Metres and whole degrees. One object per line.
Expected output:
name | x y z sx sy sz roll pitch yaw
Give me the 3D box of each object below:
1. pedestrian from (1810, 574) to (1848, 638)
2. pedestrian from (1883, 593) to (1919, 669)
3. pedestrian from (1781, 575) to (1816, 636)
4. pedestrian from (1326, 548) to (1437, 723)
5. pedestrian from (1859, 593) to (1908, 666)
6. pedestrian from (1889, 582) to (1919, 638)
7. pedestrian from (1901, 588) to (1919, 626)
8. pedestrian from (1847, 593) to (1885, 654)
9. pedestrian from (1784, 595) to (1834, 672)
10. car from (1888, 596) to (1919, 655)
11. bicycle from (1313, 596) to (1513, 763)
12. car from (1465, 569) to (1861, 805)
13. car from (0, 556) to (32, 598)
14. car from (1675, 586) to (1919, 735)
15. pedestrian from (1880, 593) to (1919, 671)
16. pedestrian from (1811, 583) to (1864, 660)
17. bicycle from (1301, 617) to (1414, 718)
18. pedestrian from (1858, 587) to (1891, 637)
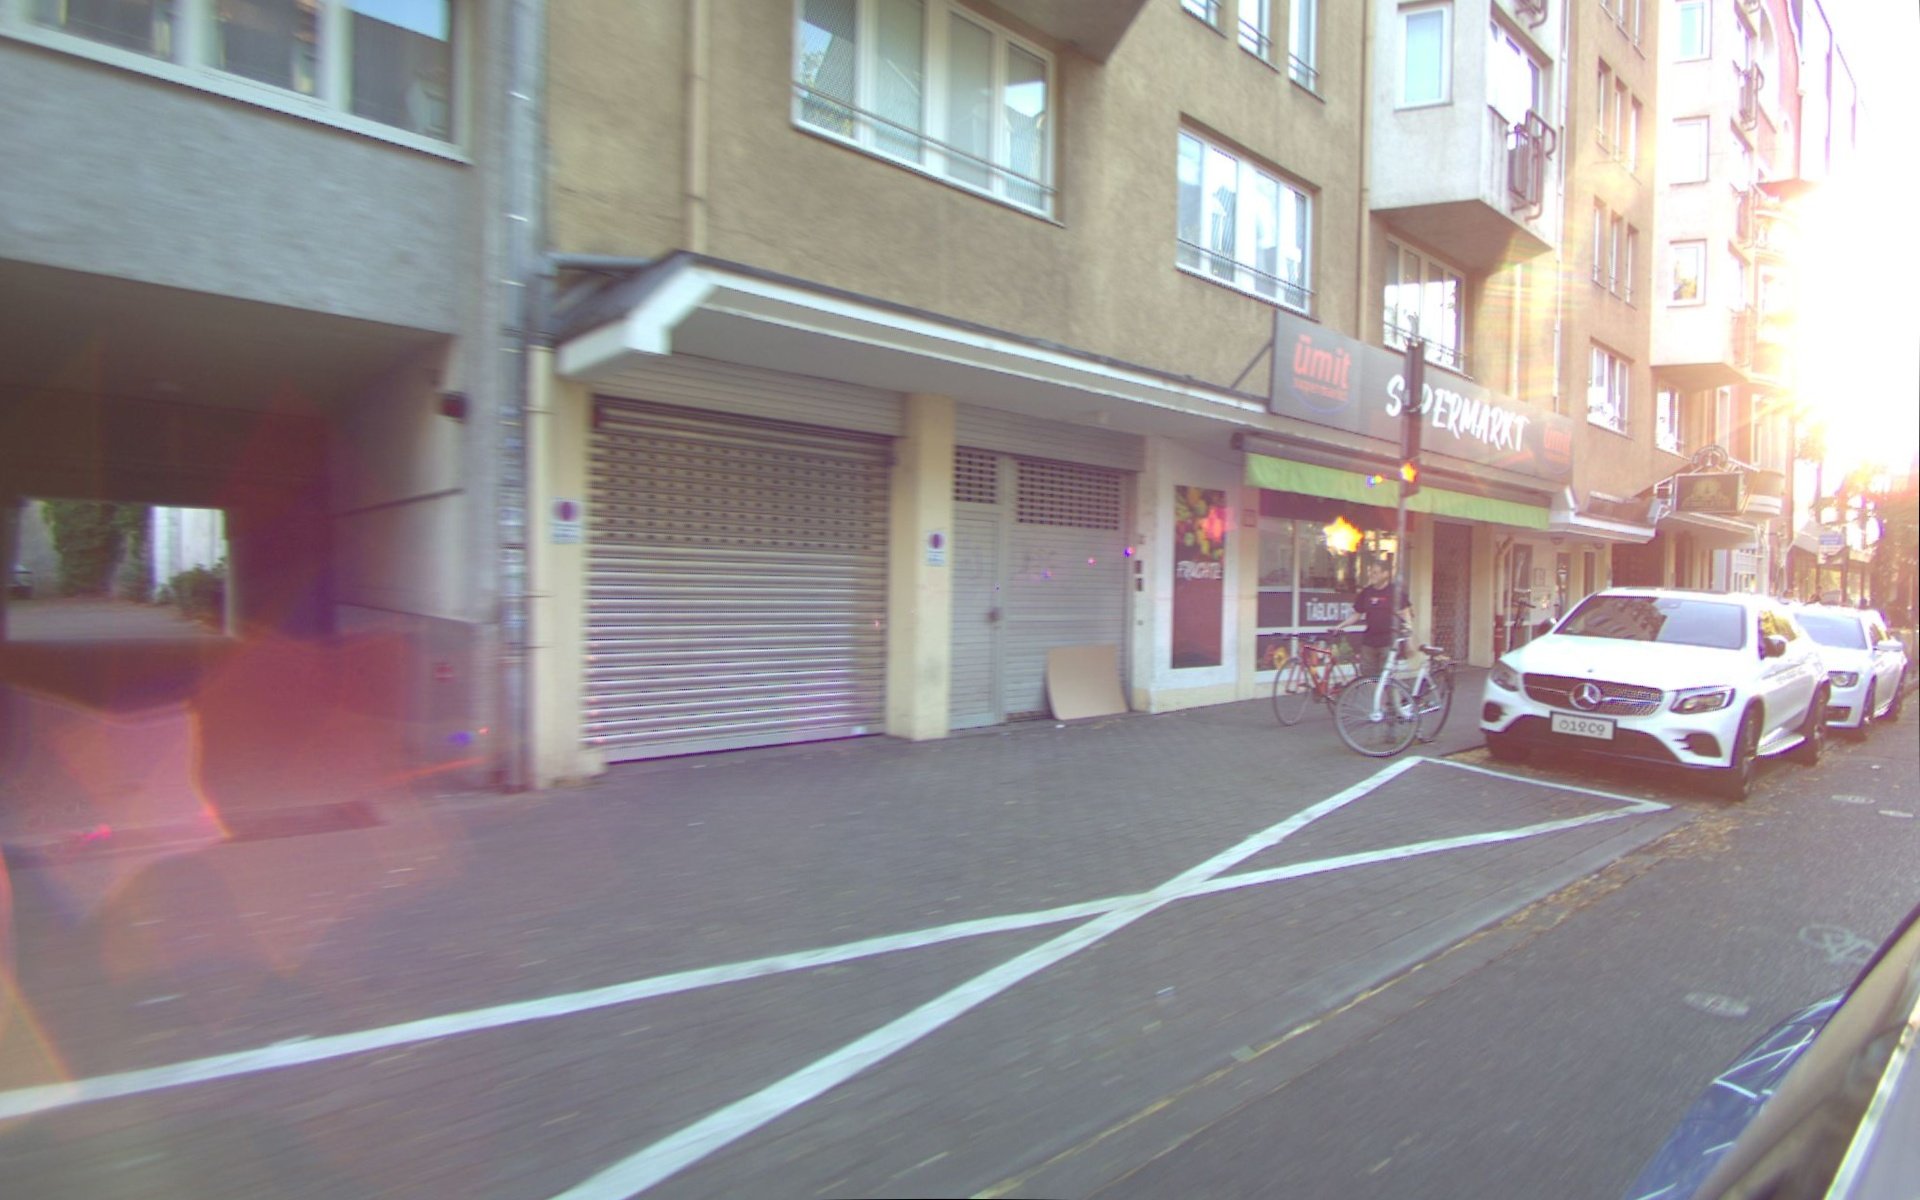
pedestrian | 26.447 0.170 30.797 0.959 1.890 0.627 0 3 -41
pedestrian | 18.144 0.577 19.374 0.592 1.401 0.578 0 3 -41
pedestrian | 26.010 0.158 31.392 0.821 1.831 0.590 0 3 -41
pedestrian | 4.387 0.341 10.549 0.688 1.725 0.789 0 2 -41
pedestrian | 19.862 0.628 21.769 0.781 1.503 0.632 1 3 -41
pedestrian | 29.364 0.299 31.412 0.629 1.698 0.625 0 2 -40
pedestrian | 45.240 0.323 47.998 0.798 1.780 0.756 0 1 -41
pedestrian | 21.156 0.539 23.643 0.430 1.361 0.549 0 3 -41
pedestrian | 16.177 0.621 19.278 0.592 1.401 0.578 0 3 -41
car | 26.553 0.691 27.107 4.910 1.457 1.779 0 3 -40
bicycle | 4.054 0.631 8.983 2.014 1.277 0.777 0 3 -41
car | 6.679 0.601 9.394 4.610 1.593 1.883 0 4 -41
car | -37.281 -0.894 38.762 3.717 1.533 1.650 2 3 32
car | 11.232 0.641 13.286 5.100 1.498 1.846 0 4 -42
pedestrian | 16.994 0.562 18.155 0.691 1.335 0.578 0 3 -41
pedestrian | 19.388 0.463 22.353 0.781 1.618 0.709 1 3 -41
bicycle | 4.267 0.690 10.814 1.523 0.970 0.459 0 2 -42
pedestrian | 28.691 0.372 31.744 0.629 1.507 0.625 0 2 -40
